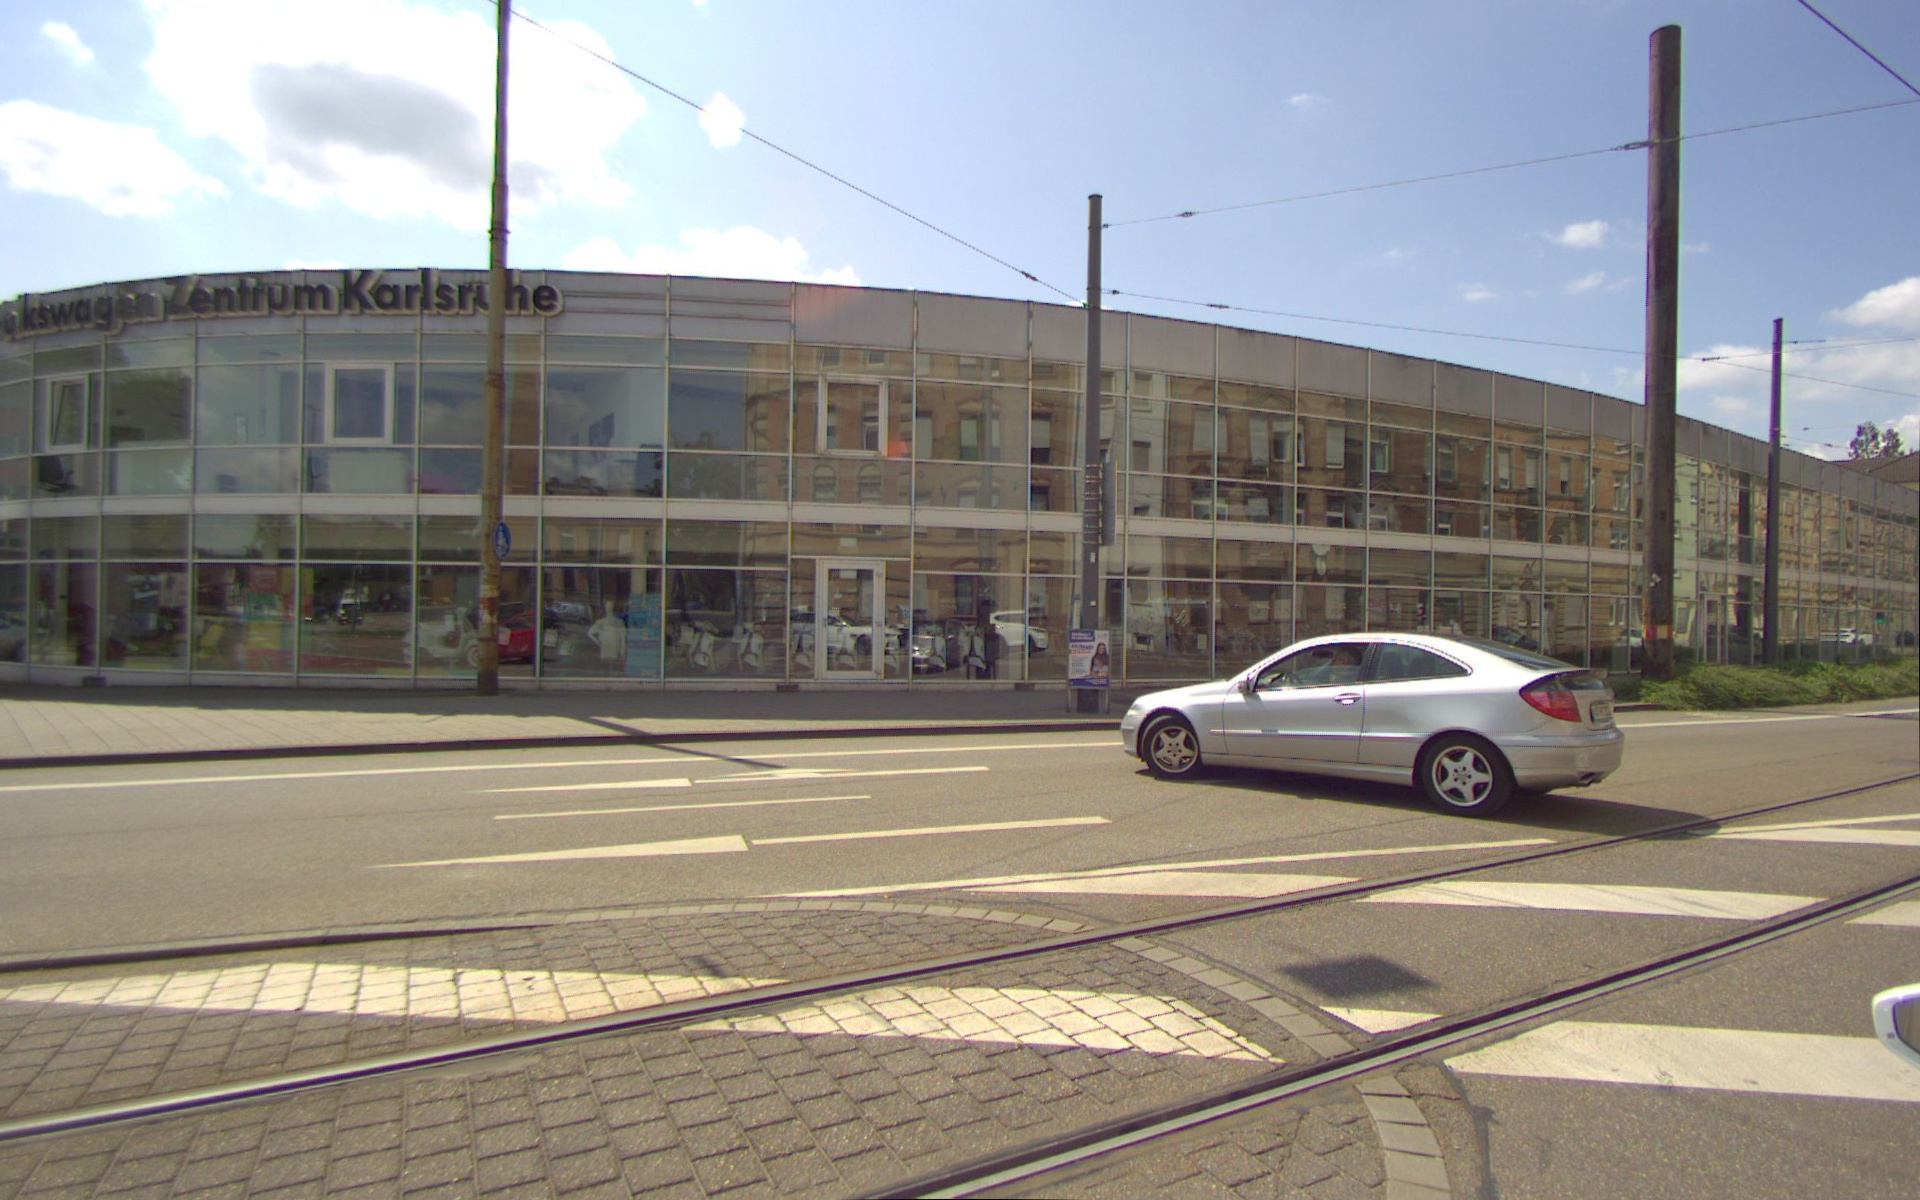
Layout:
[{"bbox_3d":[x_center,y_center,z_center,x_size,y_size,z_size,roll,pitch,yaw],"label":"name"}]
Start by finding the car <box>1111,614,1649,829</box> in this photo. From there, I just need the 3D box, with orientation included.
[{"bbox_3d":[3.559,0.879,9.091,1.807,1.439,4.135,1,-1,-42],"label":"car"}]
